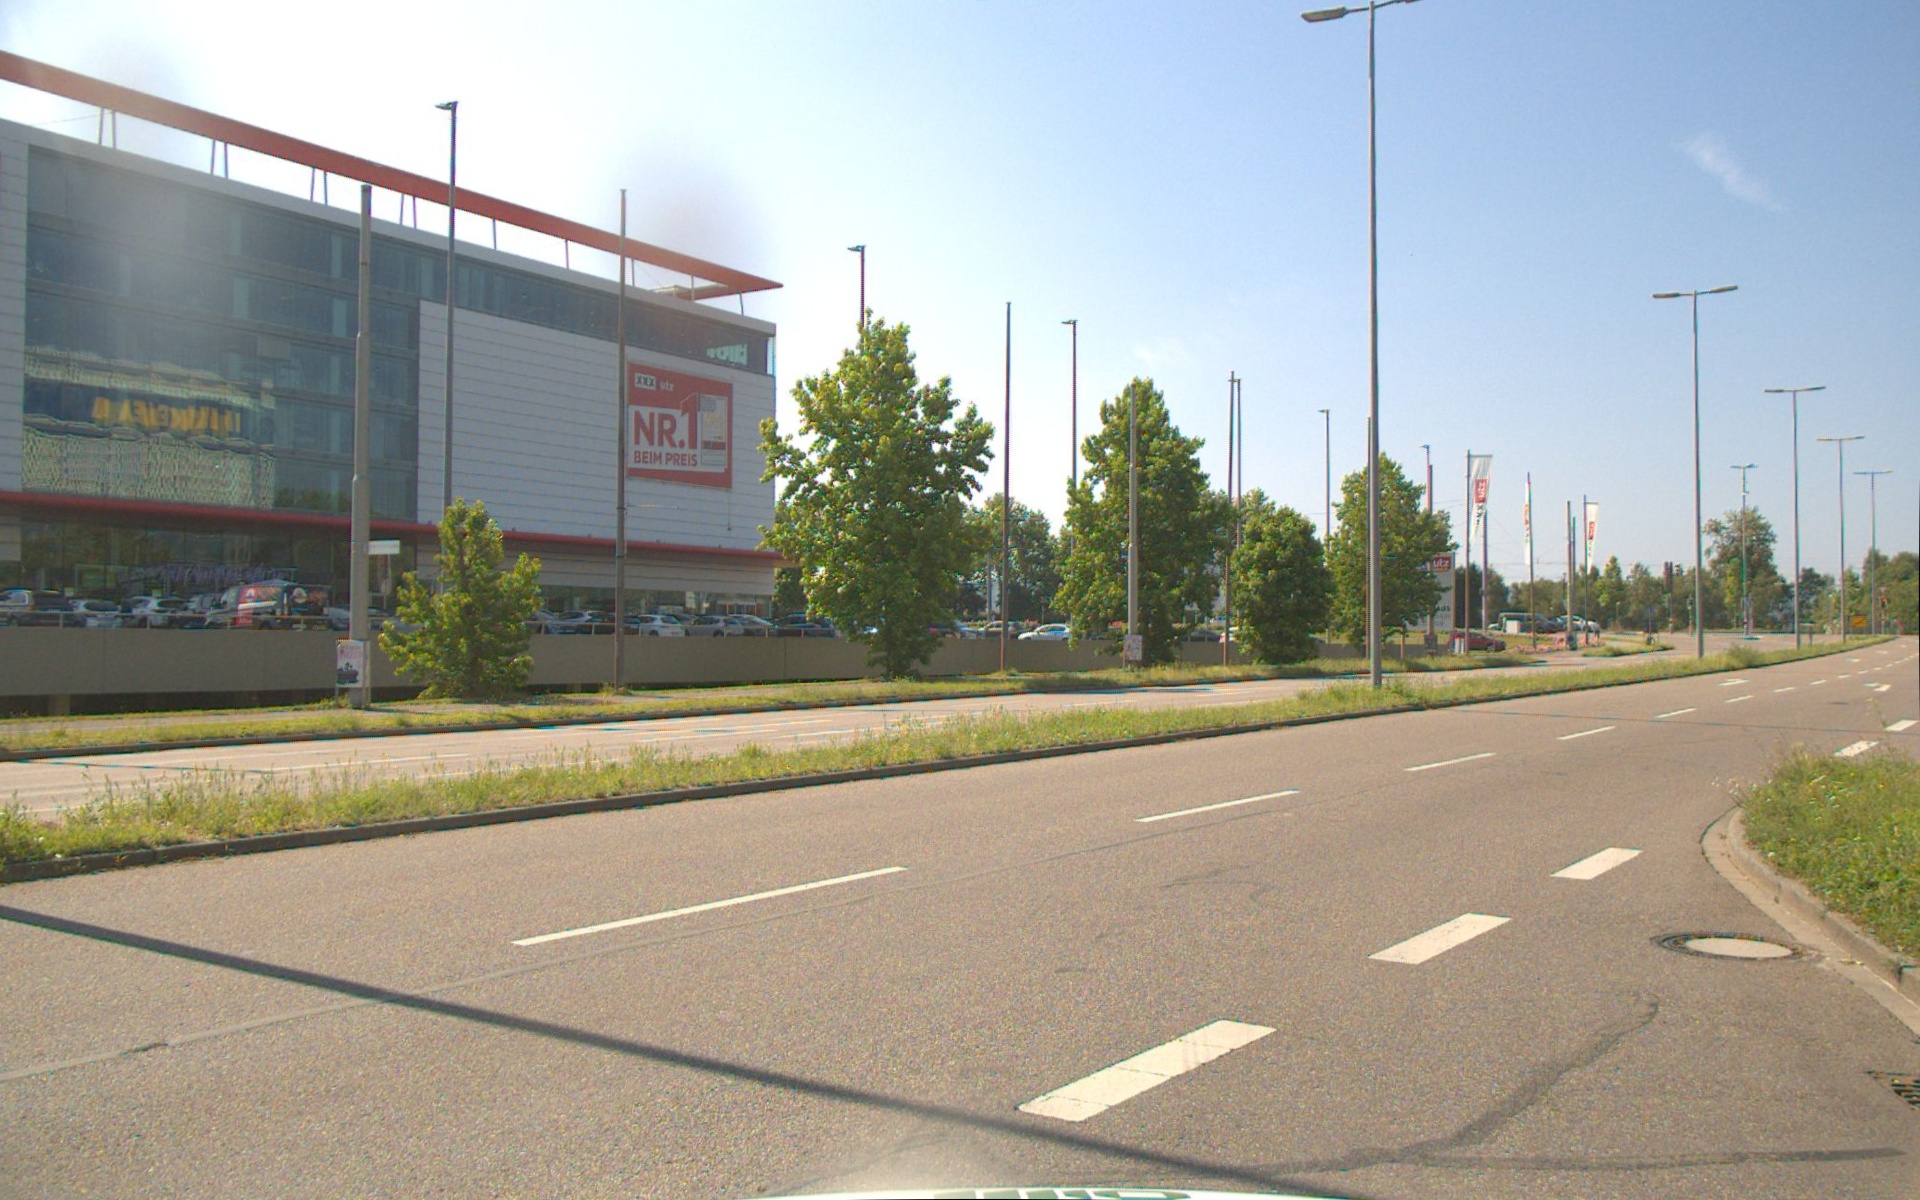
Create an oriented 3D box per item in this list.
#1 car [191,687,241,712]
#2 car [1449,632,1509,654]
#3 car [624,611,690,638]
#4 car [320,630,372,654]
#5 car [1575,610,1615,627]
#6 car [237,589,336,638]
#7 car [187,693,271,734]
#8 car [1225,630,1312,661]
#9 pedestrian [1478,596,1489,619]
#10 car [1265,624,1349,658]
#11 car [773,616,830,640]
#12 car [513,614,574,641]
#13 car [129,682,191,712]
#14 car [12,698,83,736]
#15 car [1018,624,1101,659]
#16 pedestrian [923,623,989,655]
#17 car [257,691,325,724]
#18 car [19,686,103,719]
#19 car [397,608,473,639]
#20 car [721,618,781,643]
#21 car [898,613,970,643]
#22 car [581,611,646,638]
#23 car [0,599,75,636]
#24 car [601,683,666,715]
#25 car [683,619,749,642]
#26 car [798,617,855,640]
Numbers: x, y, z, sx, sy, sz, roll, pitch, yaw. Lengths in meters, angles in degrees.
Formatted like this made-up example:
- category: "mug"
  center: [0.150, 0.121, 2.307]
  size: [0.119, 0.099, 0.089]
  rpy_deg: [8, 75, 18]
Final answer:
- category: "car"
  center: [-30.556, 4.082, 67.925]
  size: [1.901, 0.992, 0.920]
  rpy_deg: [-1, -2, 30]
- category: "car"
  center: [39.600, 3.254, 126.109]
  size: [4.103, 1.634, 1.823]
  rpy_deg: [0, -2, 28]
- category: "car"
  center: [-15.690, 1.292, 85.588]
  size: [3.031, 1.353, 1.699]
  rpy_deg: [-1, -2, 32]
- category: "car"
  center: [-25.511, 1.747, 68.750]
  size: [1.901, 0.992, 1.069]
  rpy_deg: [-1, -1, 30]
- category: "car"
  center: [59.620, 1.724, 155.285]
  size: [3.280, 1.526, 1.407]
  rpy_deg: [-1, -2, 29]
- category: "car"
  center: [-22.333, 0.454, 54.844]
  size: [2.716, 1.584, 1.770]
  rpy_deg: [-1, -1, 32]
- category: "car"
  center: [-18.953, 2.925, 42.889]
  size: [1.901, 0.992, 1.069]
  rpy_deg: [-1, -2, 30]
- category: "car"
  center: [16.995, 2.507, 91.149]
  size: [4.331, 1.656, 1.867]
  rpy_deg: [-1, -2, 31]
- category: "pedestrian"
  center: [45.638, 0.675, 144.137]
  size: [0.704, 2.007, 0.914]
  rpy_deg: [-1, -3, 37]
- category: "car"
  center: [19.955, 2.360, 95.059]
  size: [4.333, 1.875, 1.940]
  rpy_deg: [-1, -2, 32]
- category: "car"
  center: [-9.168, 1.631, 95.570]
  size: [3.032, 1.316, 1.512]
  rpy_deg: [-1, -2, 32]
- category: "car"
  center: [-21.706, 1.432, 86.141]
  size: [3.078, 1.353, 1.298]
  rpy_deg: [-1, -2, 32]
- category: "car"
  center: [-27.939, 3.367, 57.753]
  size: [1.901, 0.992, 1.069]
  rpy_deg: [-1, -2, 30]
- category: "car"
  center: [-25.836, 3.312, 46.827]
  size: [1.901, 0.992, 0.908]
  rpy_deg: [-1, -2, 30]
- category: "car"
  center: [5.973, 2.496, 99.638]
  size: [4.582, 2.049, 2.026]
  rpy_deg: [-2, -1, 30]
- category: "pedestrian"
  center: [-0.285, 2.607, 110.562]
  size: [3.939, 2.049, 1.983]
  rpy_deg: [2, -2, -27]
- category: "car"
  center: [-21.507, 3.449, 53.163]
  size: [1.901, 0.992, 1.069]
  rpy_deg: [-1, -2, 30]
- category: "car"
  center: [-18.686, 2.129, 34.371]
  size: [1.530, 0.631, 0.856]
  rpy_deg: [-1, -2, 30]
- category: "car"
  center: [-23.266, 1.054, 73.269]
  size: [3.156, 1.353, 1.512]
  rpy_deg: [-1, -2, 32]
- category: "car"
  center: [-11.605, 1.689, 91.859]
  size: [3.031, 1.353, 1.512]
  rpy_deg: [-1, -2, 32]
- category: "car"
  center: [-0.952, 1.048, 60.998]
  size: [2.466, 1.078, 1.069]
  rpy_deg: [-1, -2, 30]
- category: "car"
  center: [-17.498, 1.243, 83.499]
  size: [3.031, 1.353, 1.512]
  rpy_deg: [-1, -2, 32]
- category: "car"
  center: [-35.625, 0.687, 63.611]
  size: [2.956, 1.353, 1.512]
  rpy_deg: [-1, -2, 32]
- category: "car"
  center: [-10.873, 3.295, 55.066]
  size: [1.901, 0.992, 1.069]
  rpy_deg: [-1, -2, 30]
- category: "car"
  center: [-13.242, 1.641, 89.707]
  size: [3.435, 1.220, 1.477]
  rpy_deg: [-1, -2, 32]
- category: "car"
  center: [-7.878, 1.679, 97.711]
  size: [3.031, 1.353, 1.512]
  rpy_deg: [-1, -2, 32]
